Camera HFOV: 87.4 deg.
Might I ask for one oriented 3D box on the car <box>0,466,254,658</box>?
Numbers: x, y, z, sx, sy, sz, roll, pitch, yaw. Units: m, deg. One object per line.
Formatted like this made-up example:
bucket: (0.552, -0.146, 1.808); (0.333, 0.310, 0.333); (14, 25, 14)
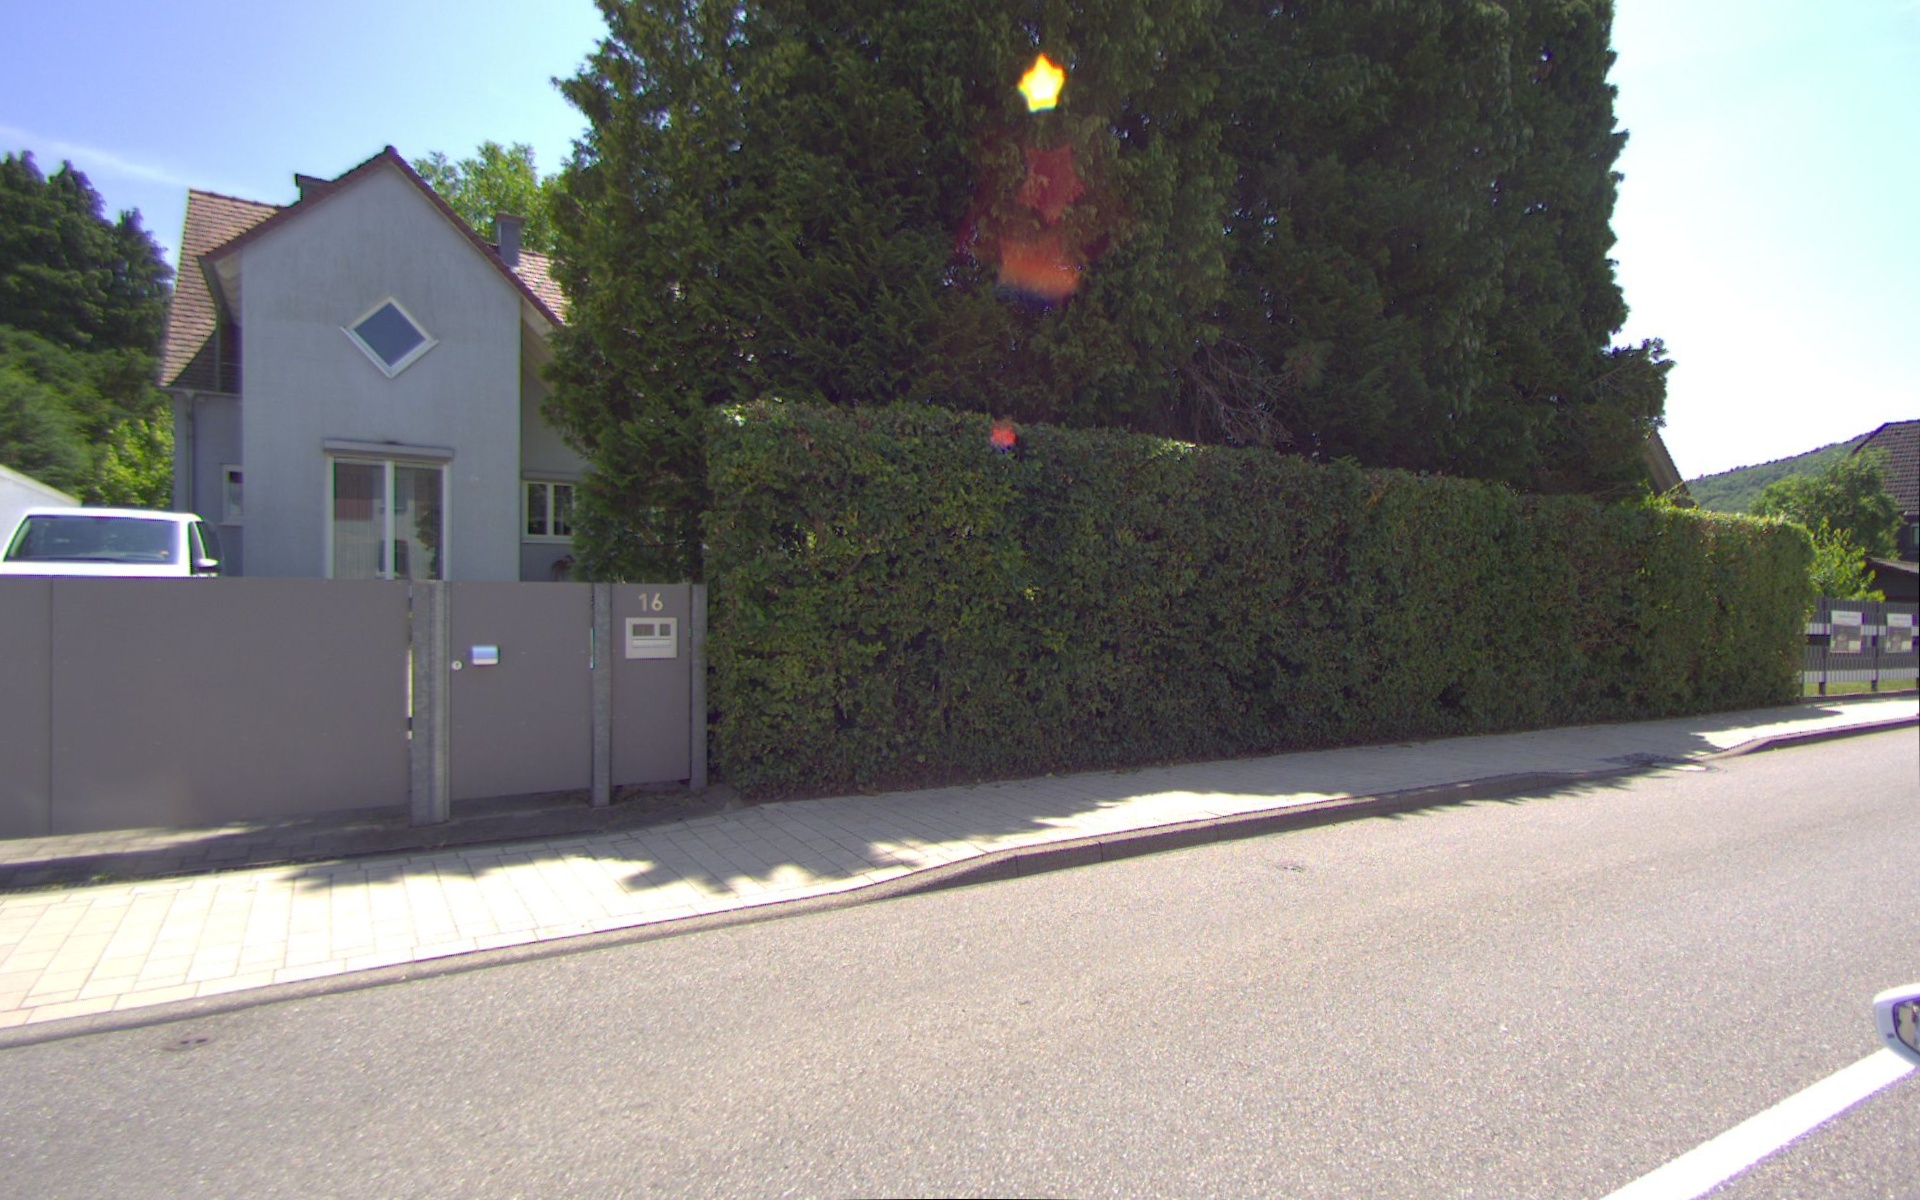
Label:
car: (-10.406, -0.406, 12.439); (2.135, 1.919, 4.779); (2, 0, -29)
